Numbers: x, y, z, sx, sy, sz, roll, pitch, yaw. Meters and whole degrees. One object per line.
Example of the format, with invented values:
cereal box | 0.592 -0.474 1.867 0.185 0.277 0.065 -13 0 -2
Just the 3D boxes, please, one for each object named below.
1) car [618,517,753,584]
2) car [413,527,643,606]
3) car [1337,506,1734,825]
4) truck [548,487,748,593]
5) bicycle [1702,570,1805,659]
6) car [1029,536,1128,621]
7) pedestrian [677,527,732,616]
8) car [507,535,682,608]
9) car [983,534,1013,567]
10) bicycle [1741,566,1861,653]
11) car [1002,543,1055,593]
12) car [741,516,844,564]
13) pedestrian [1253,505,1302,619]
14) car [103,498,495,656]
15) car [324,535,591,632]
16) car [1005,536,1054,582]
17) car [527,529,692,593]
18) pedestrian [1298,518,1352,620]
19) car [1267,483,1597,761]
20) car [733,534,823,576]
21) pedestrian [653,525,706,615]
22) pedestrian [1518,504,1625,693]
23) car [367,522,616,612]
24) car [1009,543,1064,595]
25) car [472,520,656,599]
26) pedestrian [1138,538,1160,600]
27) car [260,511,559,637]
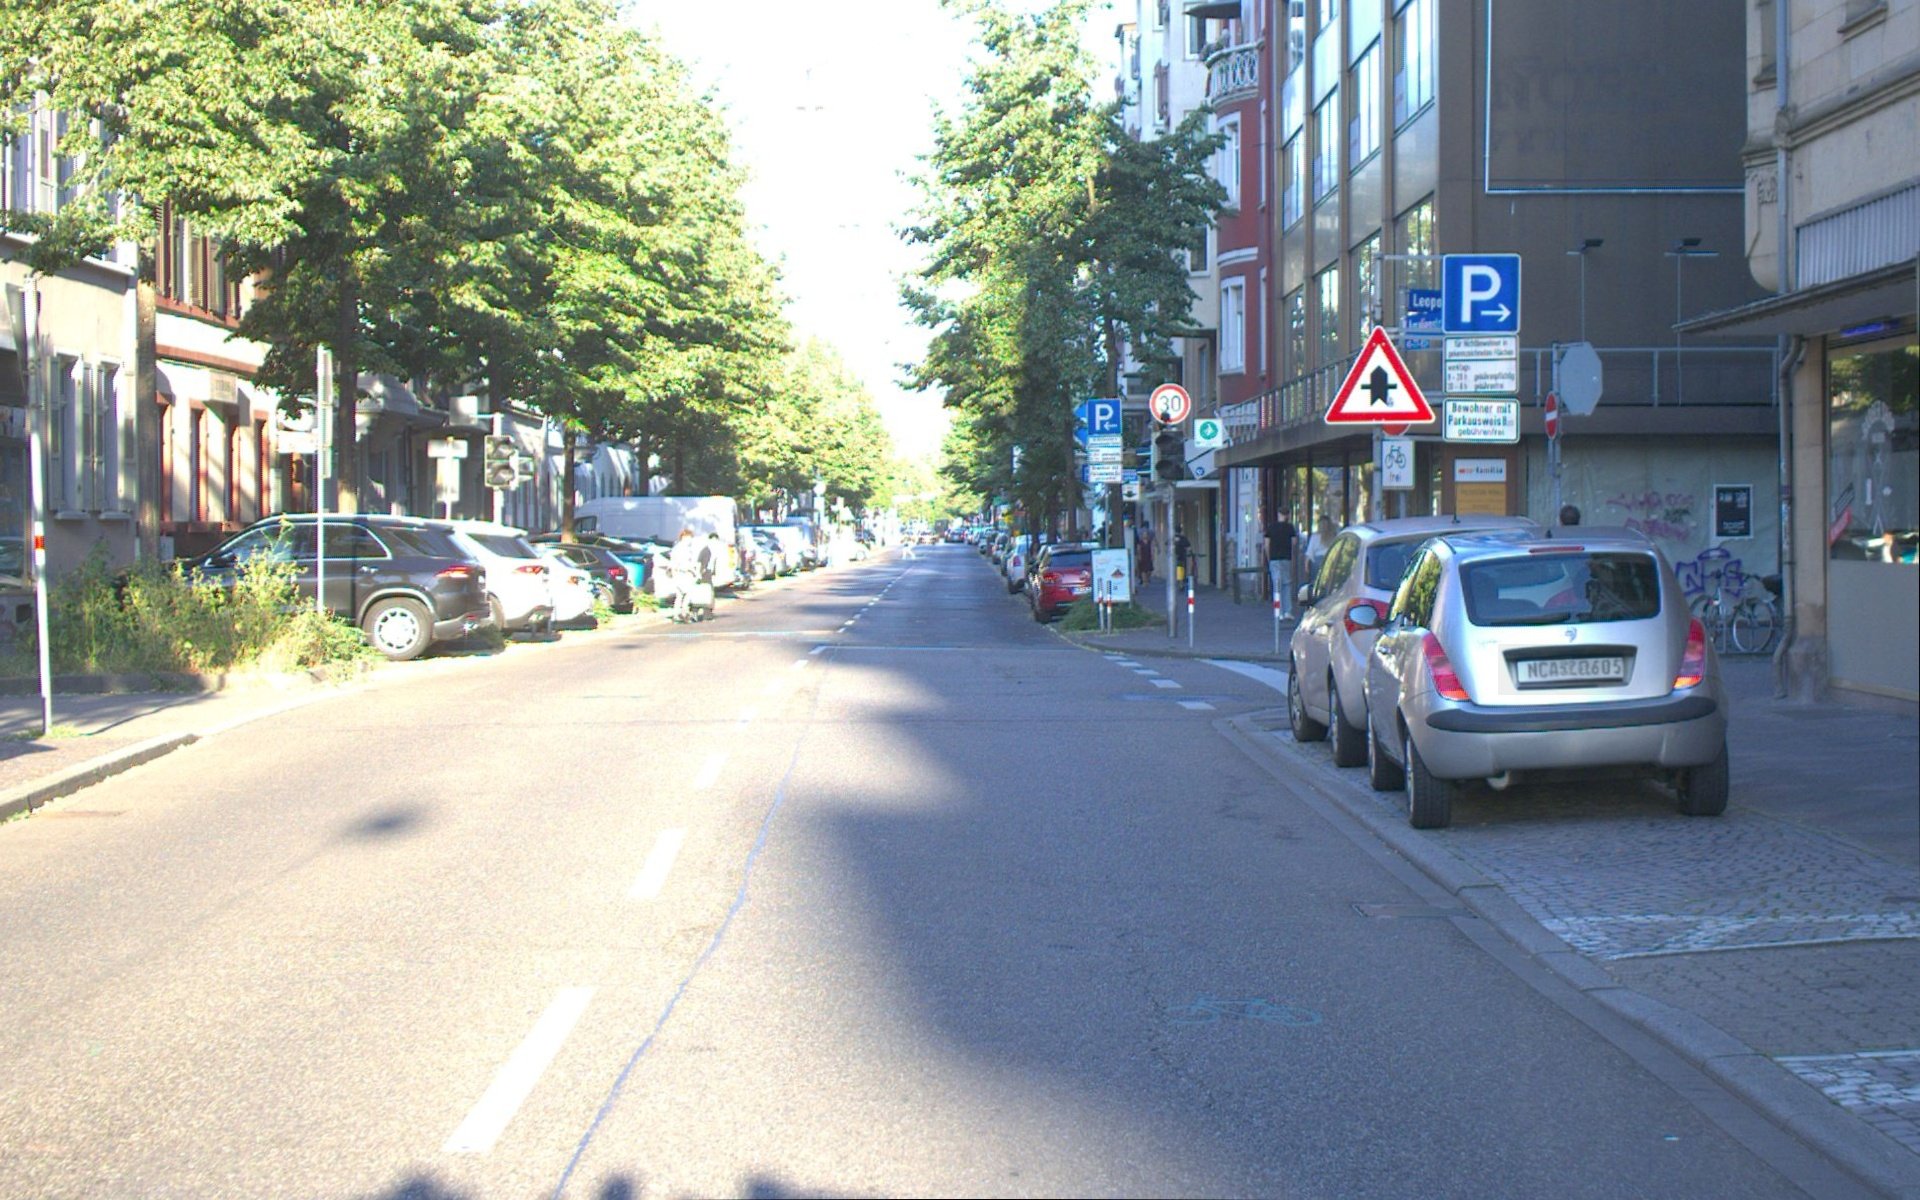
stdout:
car | -7.942 -1.449 99.585 3.739 1.852 2.000 1 1 0
car | -8.758 -0.691 69.937 4.426 1.498 2.000 1 1 0
car | 3.121 0.280 19.335 1.680 1.555 4.000 -1 2 2
truck | -8.042 -1.549 88.911 4.941 2.606 2.000 1 1 0
bicycle | 9.789 0.167 42.454 0.414 1.027 1.691 -1 2 -18
car | 2.251 -0.415 66.027 1.576 1.537 3.397 -2 1 -3
pedestrian | -4.925 -0.550 66.384 0.721 1.677 0.757 0 2 -40
car | -8.226 -0.638 77.538 3.739 1.590 2.000 0 -1 0
car | 1.854 -2.447 169.816 1.308 1.594 2.661 1 1 -3
bicycle | 10.604 0.107 43.384 0.414 1.034 1.776 -1 2 -26
car | 1.788 -0.840 90.631 1.206 1.296 2.661 1 1 -3
car | -6.284 -2.271 129.142 3.739 1.702 2.000 1 2 0
pedestrian | 5.265 -0.635 57.026 0.714 1.859 0.680 0 1 -3
car | -8.123 -0.287 42.576 4.449 1.829 2.034 1 0 0
car | -8.372 -0.286 57.550 4.175 1.502 2.000 1 1 0
car | 1.967 -1.164 98.178 1.206 1.296 2.661 1 1 -3
car | -8.394 -0.948 82.554 3.739 1.445 2.000 1 1 0
pedestrian | 6.067 -0.521 57.106 0.765 1.683 0.786 0 1 -2
car | 3.190 0.083 23.915 1.696 1.763 4.000 0 2 -1
car | -7.769 -1.924 147.009 3.739 1.702 2.000 1 2 0
pedestrian | -5.316 -0.572 65.168 0.714 1.667 0.710 0 2 -40
pedestrian | 5.846 -0.030 32.911 0.755 1.761 1.222 1 1 -1
car | -8.819 -0.638 64.995 4.426 1.594 2.000 1 1 0
car | 1.946 -0.791 87.800 1.206 1.296 2.661 1 1 -3
car | -8.584 -0.888 74.758 3.739 1.636 2.000 1 1 0
pedestrian | 4.998 -0.816 91.082 0.534 1.616 0.534 1 1 0
car | -7.854 -0.389 49.296 3.989 1.702 1.833 1 2 0
